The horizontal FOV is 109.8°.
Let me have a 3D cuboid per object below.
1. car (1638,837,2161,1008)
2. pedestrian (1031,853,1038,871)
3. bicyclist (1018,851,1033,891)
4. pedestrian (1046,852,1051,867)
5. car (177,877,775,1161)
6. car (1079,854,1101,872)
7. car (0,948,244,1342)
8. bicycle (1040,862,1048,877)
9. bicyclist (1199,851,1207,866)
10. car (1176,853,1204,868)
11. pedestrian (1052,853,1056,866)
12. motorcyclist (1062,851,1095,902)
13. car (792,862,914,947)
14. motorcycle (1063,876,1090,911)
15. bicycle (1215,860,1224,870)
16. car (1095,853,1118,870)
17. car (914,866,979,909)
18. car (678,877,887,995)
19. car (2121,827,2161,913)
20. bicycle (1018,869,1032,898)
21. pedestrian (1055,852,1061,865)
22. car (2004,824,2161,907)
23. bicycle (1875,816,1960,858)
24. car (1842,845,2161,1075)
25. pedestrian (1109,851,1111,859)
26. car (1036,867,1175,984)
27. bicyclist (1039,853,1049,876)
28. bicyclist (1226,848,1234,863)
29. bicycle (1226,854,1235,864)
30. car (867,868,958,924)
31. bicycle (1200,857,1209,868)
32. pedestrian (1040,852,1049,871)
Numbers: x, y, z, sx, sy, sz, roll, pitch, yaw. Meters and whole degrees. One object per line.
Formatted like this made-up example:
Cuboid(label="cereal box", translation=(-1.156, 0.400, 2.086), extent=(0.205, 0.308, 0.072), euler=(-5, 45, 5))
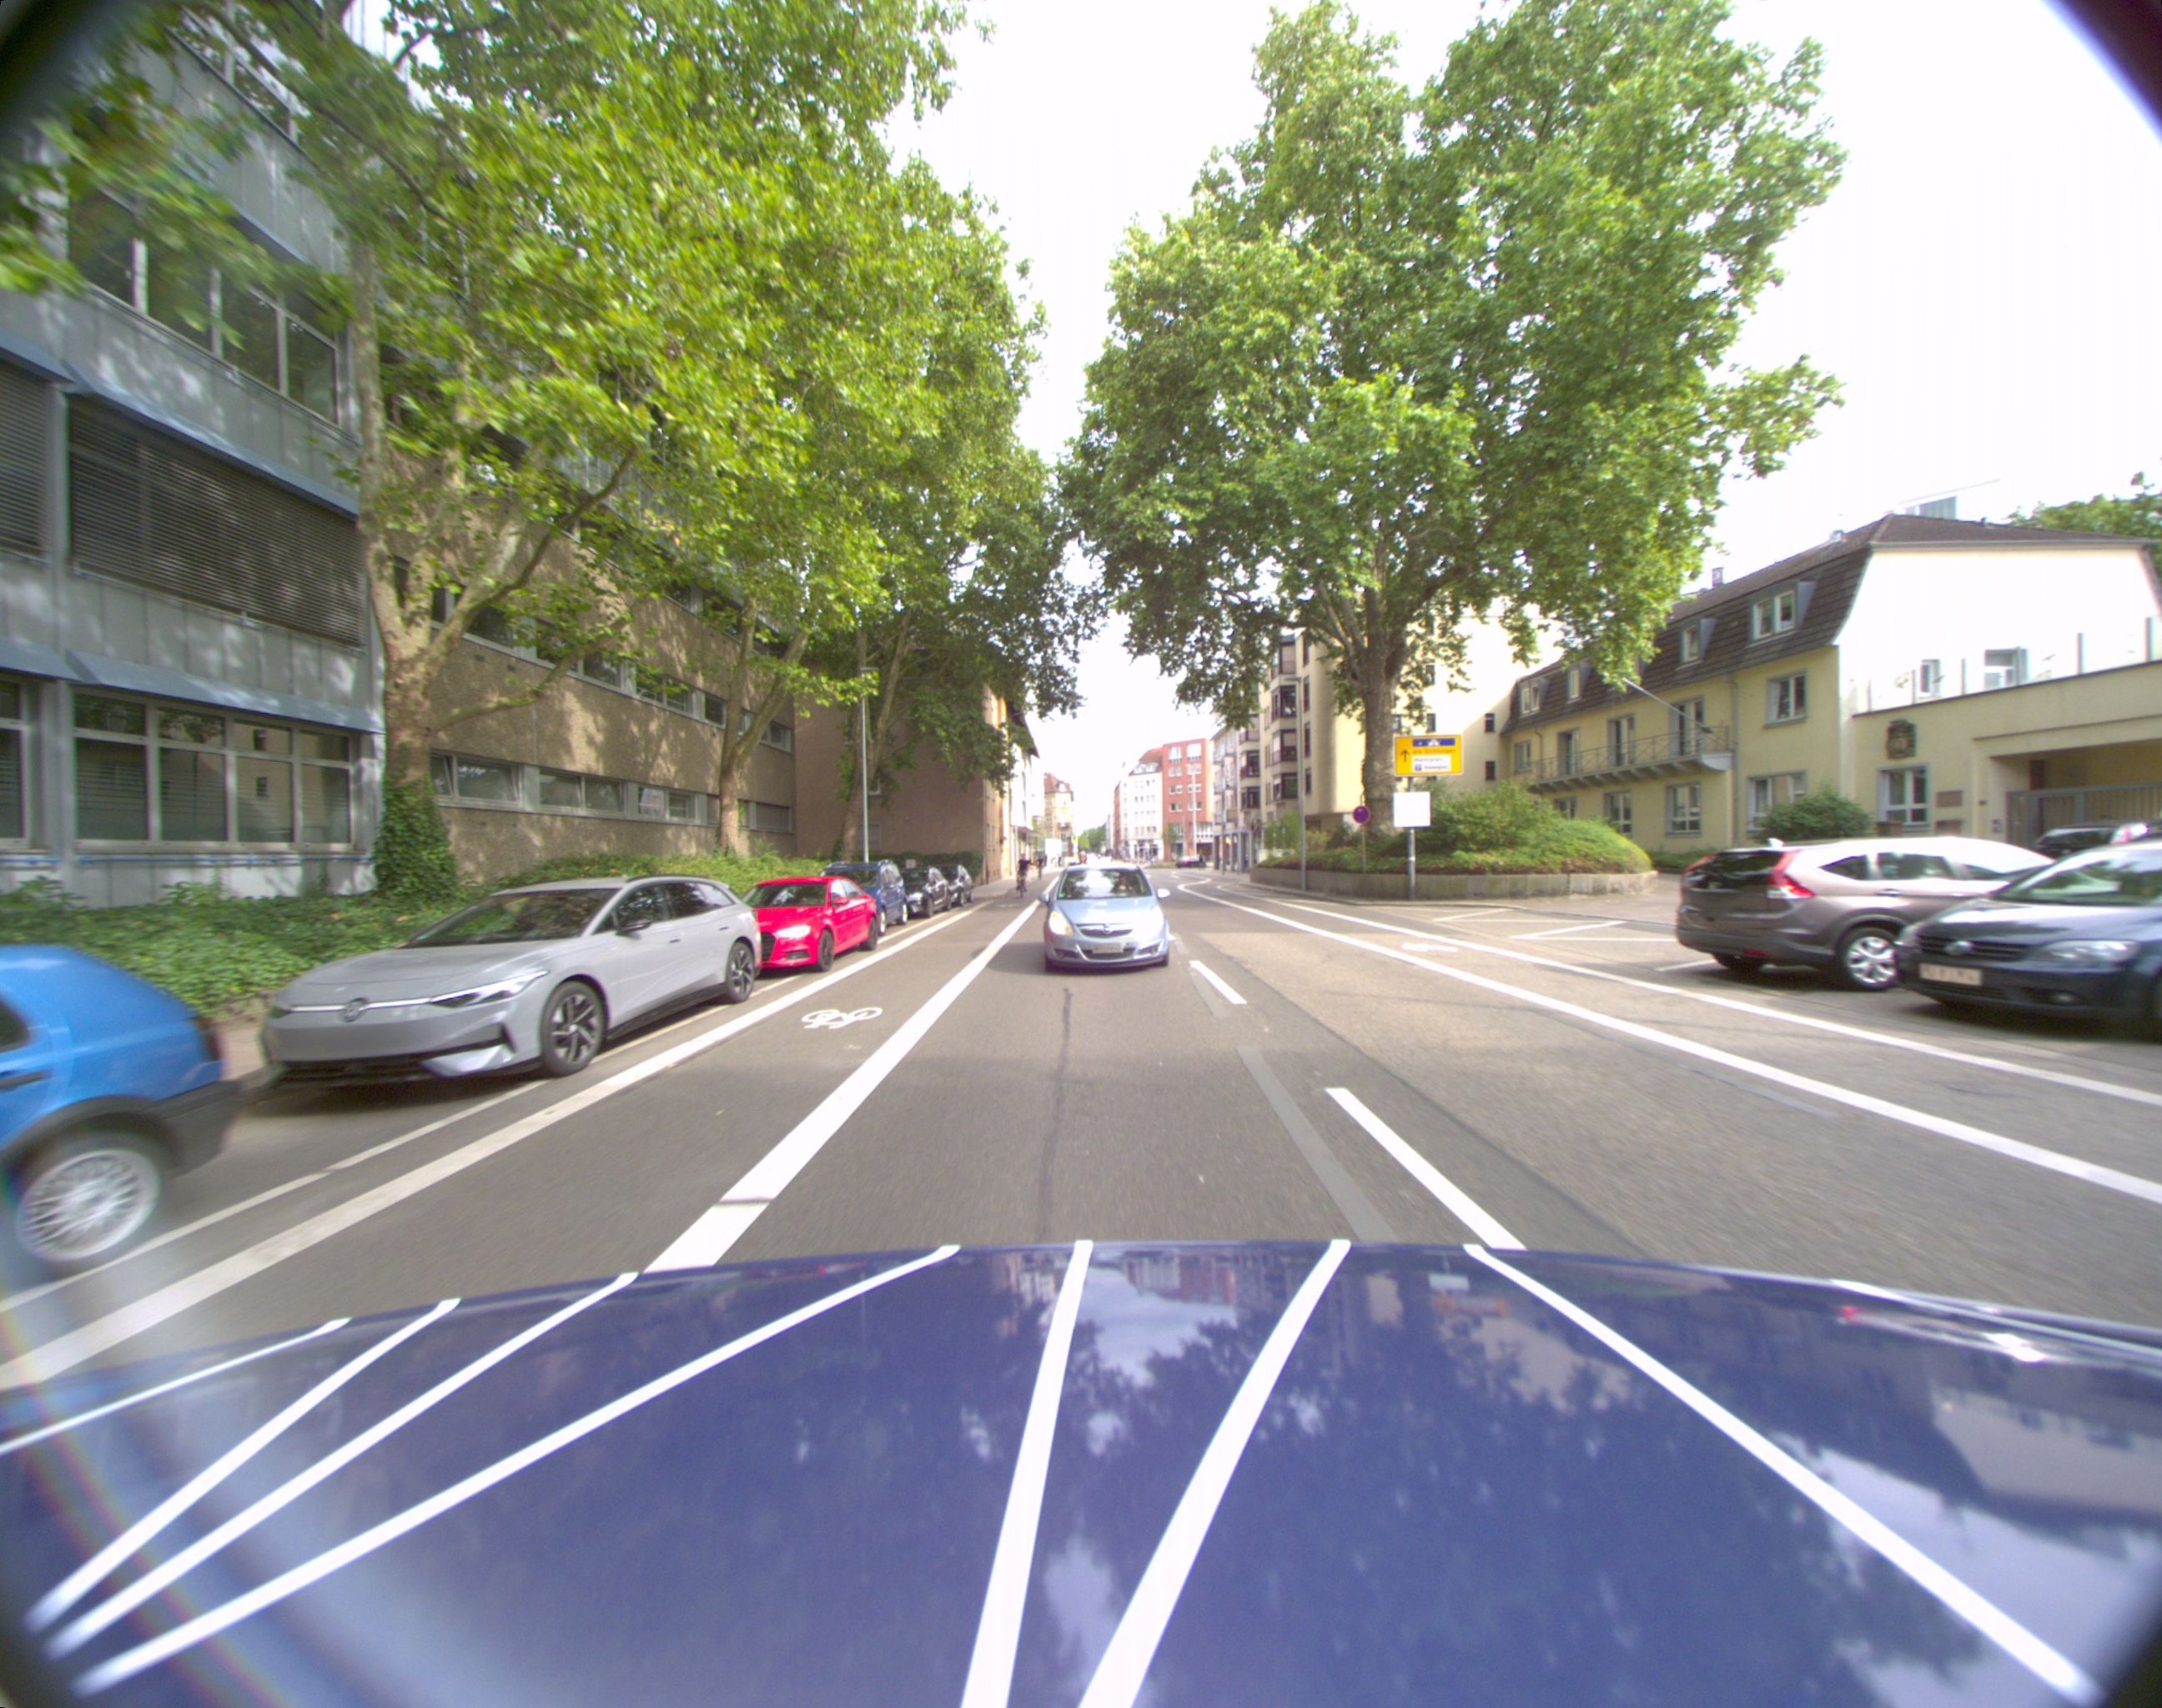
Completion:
Cuboid(label="car", translation=(9.380, 0.728, 8.840), extent=(4.267, 1.596, 1.968), euler=(-3, -1, 1))
Cuboid(label="pedestrian", translation=(-4.474, 0.780, 73.125), extent=(0.606, 1.659, 0.944), euler=(-1, 1, -1))
Cuboid(label="bicyclist", translation=(-2.342, 0.714, 32.183), extent=(0.560, 1.699, 0.862), euler=(-1, 0, -1))
Cuboid(label="pedestrian", translation=(-4.241, 0.679, 98.787), extent=(0.674, 1.892, 0.590), euler=(-1, 1, 1))
Cuboid(label="car", translation=(-4.780, 1.114, 7.220), extent=(1.732, 1.508, 4.870), euler=(-3, 0, -1))
Cuboid(label="car", translation=(0.873, 0.821, 69.879), extent=(1.957, 1.592, 4.000), euler=(-1, 0, 1))
Cuboid(label="car", translation=(-4.934, 1.194, 1.667), extent=(1.626, 1.378, 4.000), euler=(-4, 0, 2))
Cuboid(label="bicycle", translation=(-2.584, 1.053, 52.670), extent=(0.489, 0.994, 1.748), euler=(-2, 0, -1))
Cuboid(label="bicyclist", translation=(12.717, 0.495, 78.973), extent=(0.658, 1.516, 1.077), euler=(-3, -1, 5))
Cuboid(label="car", translation=(12.768, 0.815, 88.837), extent=(1.812, 1.398, 4.620), euler=(-3, -6, 28))
Cuboid(label="pedestrian", translation=(-3.516, 0.741, 98.589), extent=(0.473, 1.663, 0.590), euler=(2, 0, 1))
Cuboid(label="motorcyclist", translation=(-0.073, 0.685, 23.292), extent=(0.871, 1.508, 1.044), euler=(-1, 0, 6))
Cuboid(label="car", translation=(-5.135, 1.045, 17.712), extent=(1.662, 1.641, 4.418), euler=(-2, 0, -3))
Cuboid(label="motorcycle", translation=(-0.119, 1.191, 23.246), extent=(0.570, 0.962, 2.015), euler=(-1, 0, 6))
Cuboid(label="bicycle", translation=(15.266, 1.197, 83.620), extent=(0.739, 1.001, 1.977), euler=(-3, -1, 3))
Cuboid(label="car", translation=(2.896, 0.847, 85.382), extent=(1.997, 1.867, 4.003), euler=(-1, 0, 9))
Cuboid(label="car", translation=(-4.763, 1.158, 27.431), extent=(1.662, 1.413, 3.866), euler=(-1, -1, 0))
Cuboid(label="car", translation=(-4.570, 1.167, 12.428), extent=(1.680, 1.386, 4.460), euler=(-1, 0, -1))
Cuboid(label="car", translation=(20.573, 0.200, 12.510), extent=(3.996, 1.457, 1.918), euler=(-3, 1, 4))
Cuboid(label="bicycle", translation=(-2.349, 1.225, 31.933), extent=(0.407, 1.115, 2.016), euler=(-3, 1, -2))
Cuboid(label="pedestrian", translation=(-3.219, 0.606, 106.051), extent=(0.658, 1.841, 0.971), euler=(2, 1, 3))
Cuboid(label="car", translation=(21.115, 0.160, 14.697), extent=(3.996, 1.412, 1.891), euler=(-3, 1, 4))
Cuboid(label="bicycle", translation=(22.834, -0.460, 20.752), extent=(1.802, 1.038, 0.399), euler=(-3, -1, 2))
Cuboid(label="car", translation=(9.334, 0.744, 6.390), extent=(3.950, 1.560, 1.754), euler=(-3, 0, 3))
Cuboid(label="pedestrian", translation=(6.607, 0.262, 172.832), extent=(0.541, 1.712, 0.520), euler=(-2, 1, 3))
Cuboid(label="car", translation=(0.348, 0.928, 11.466), extent=(1.723, 1.394, 4.000), euler=(0, 0, 1))
Cuboid(label="bicyclist", translation=(-2.579, 0.734, 52.611), extent=(0.613, 1.593, 0.847), euler=(-3, -1, -1))
Cuboid(label="bicyclist", translation=(16.235, 0.154, 82.906), extent=(0.658, 1.516, 0.841), euler=(-3, -1, 5))
Cuboid(label="bicycle", translation=(16.231, 0.536, 82.513), extent=(0.739, 1.001, 2.253), euler=(-3, -1, 5))
Cuboid(label="car", translation=(-4.851, 1.158, 22.444), extent=(1.661, 1.413, 3.947), euler=(-1, 0, 2))
Cuboid(label="bicycle", translation=(12.865, 0.893, 79.175), extent=(0.739, 1.001, 2.196), euler=(-3, -1, 3))
Cuboid(label="pedestrian", translation=(-3.491, 0.731, 73.090), extent=(0.753, 1.740, 0.859), euler=(2, 0, -1))
